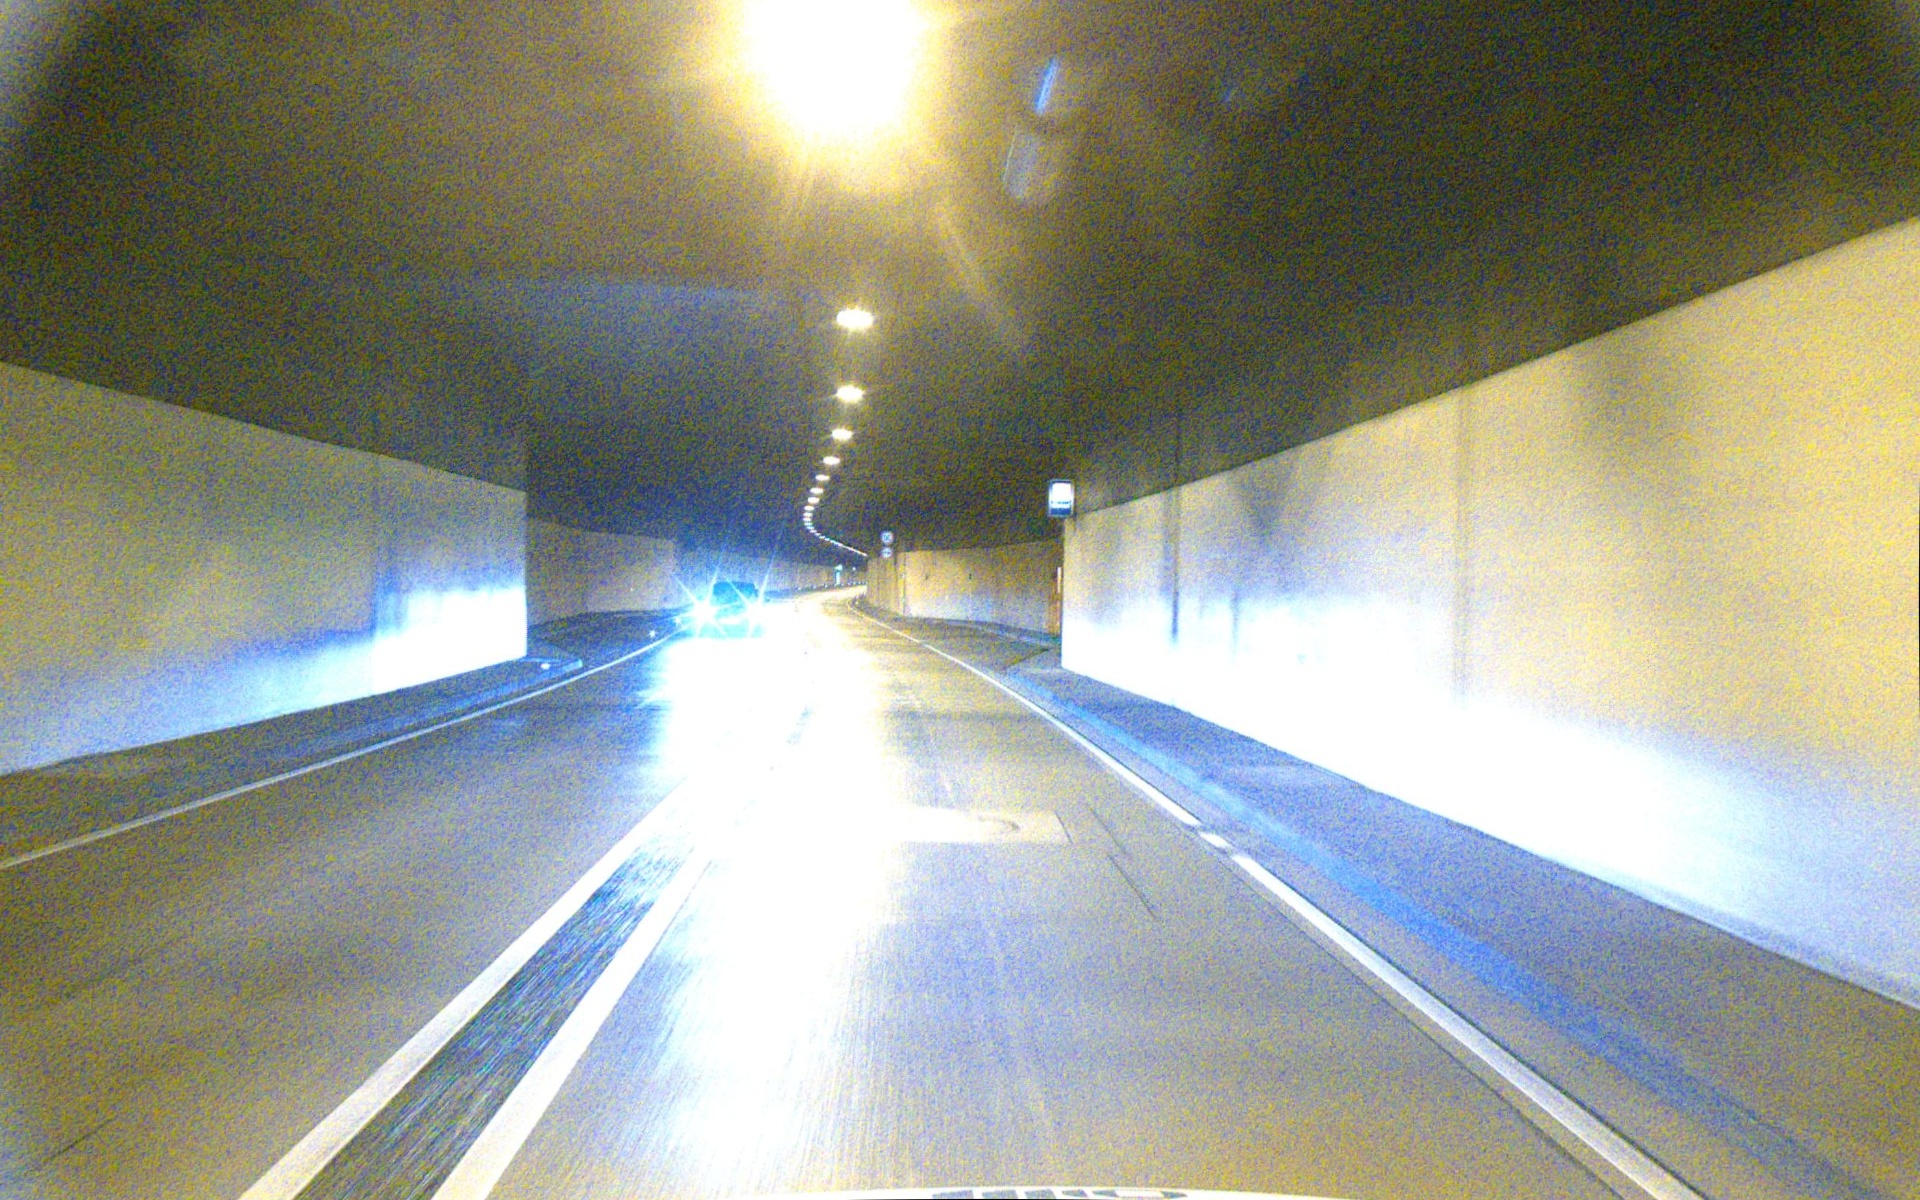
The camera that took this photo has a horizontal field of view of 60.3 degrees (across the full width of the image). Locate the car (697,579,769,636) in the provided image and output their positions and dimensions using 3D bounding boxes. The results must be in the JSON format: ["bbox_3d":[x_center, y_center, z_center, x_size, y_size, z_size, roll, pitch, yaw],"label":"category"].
[{"bbox_3d":[-6.155,0.167,45.188,1.674,1.440,4.114,2,1,-5],"label":"car"}]
